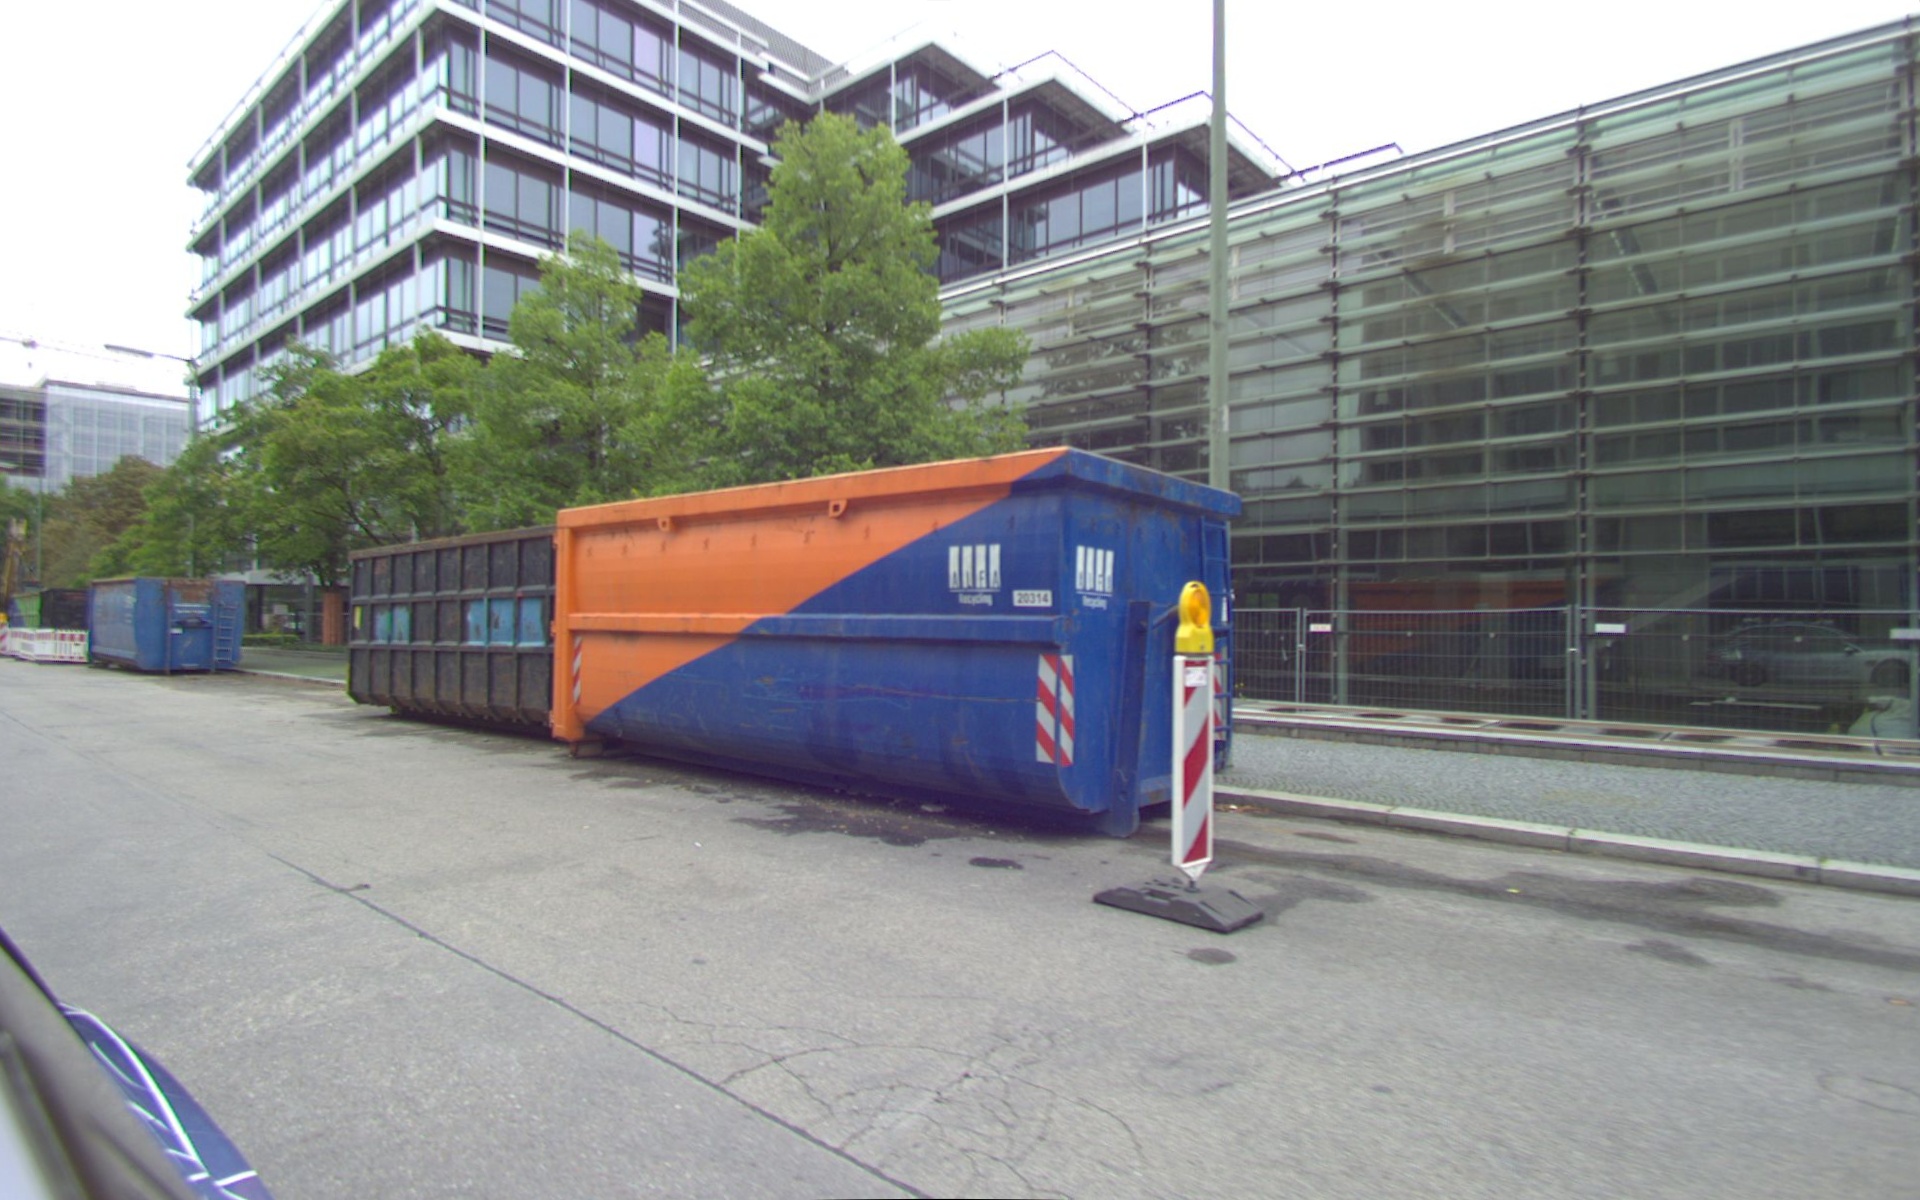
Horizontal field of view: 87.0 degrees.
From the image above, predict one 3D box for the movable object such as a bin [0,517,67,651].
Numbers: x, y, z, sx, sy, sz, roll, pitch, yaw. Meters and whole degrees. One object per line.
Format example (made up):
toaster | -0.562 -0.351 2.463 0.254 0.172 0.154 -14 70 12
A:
movable object such as a bin | -48.242 -0.681 51.640 8.337 6.370 3.198 -1 -2 44
